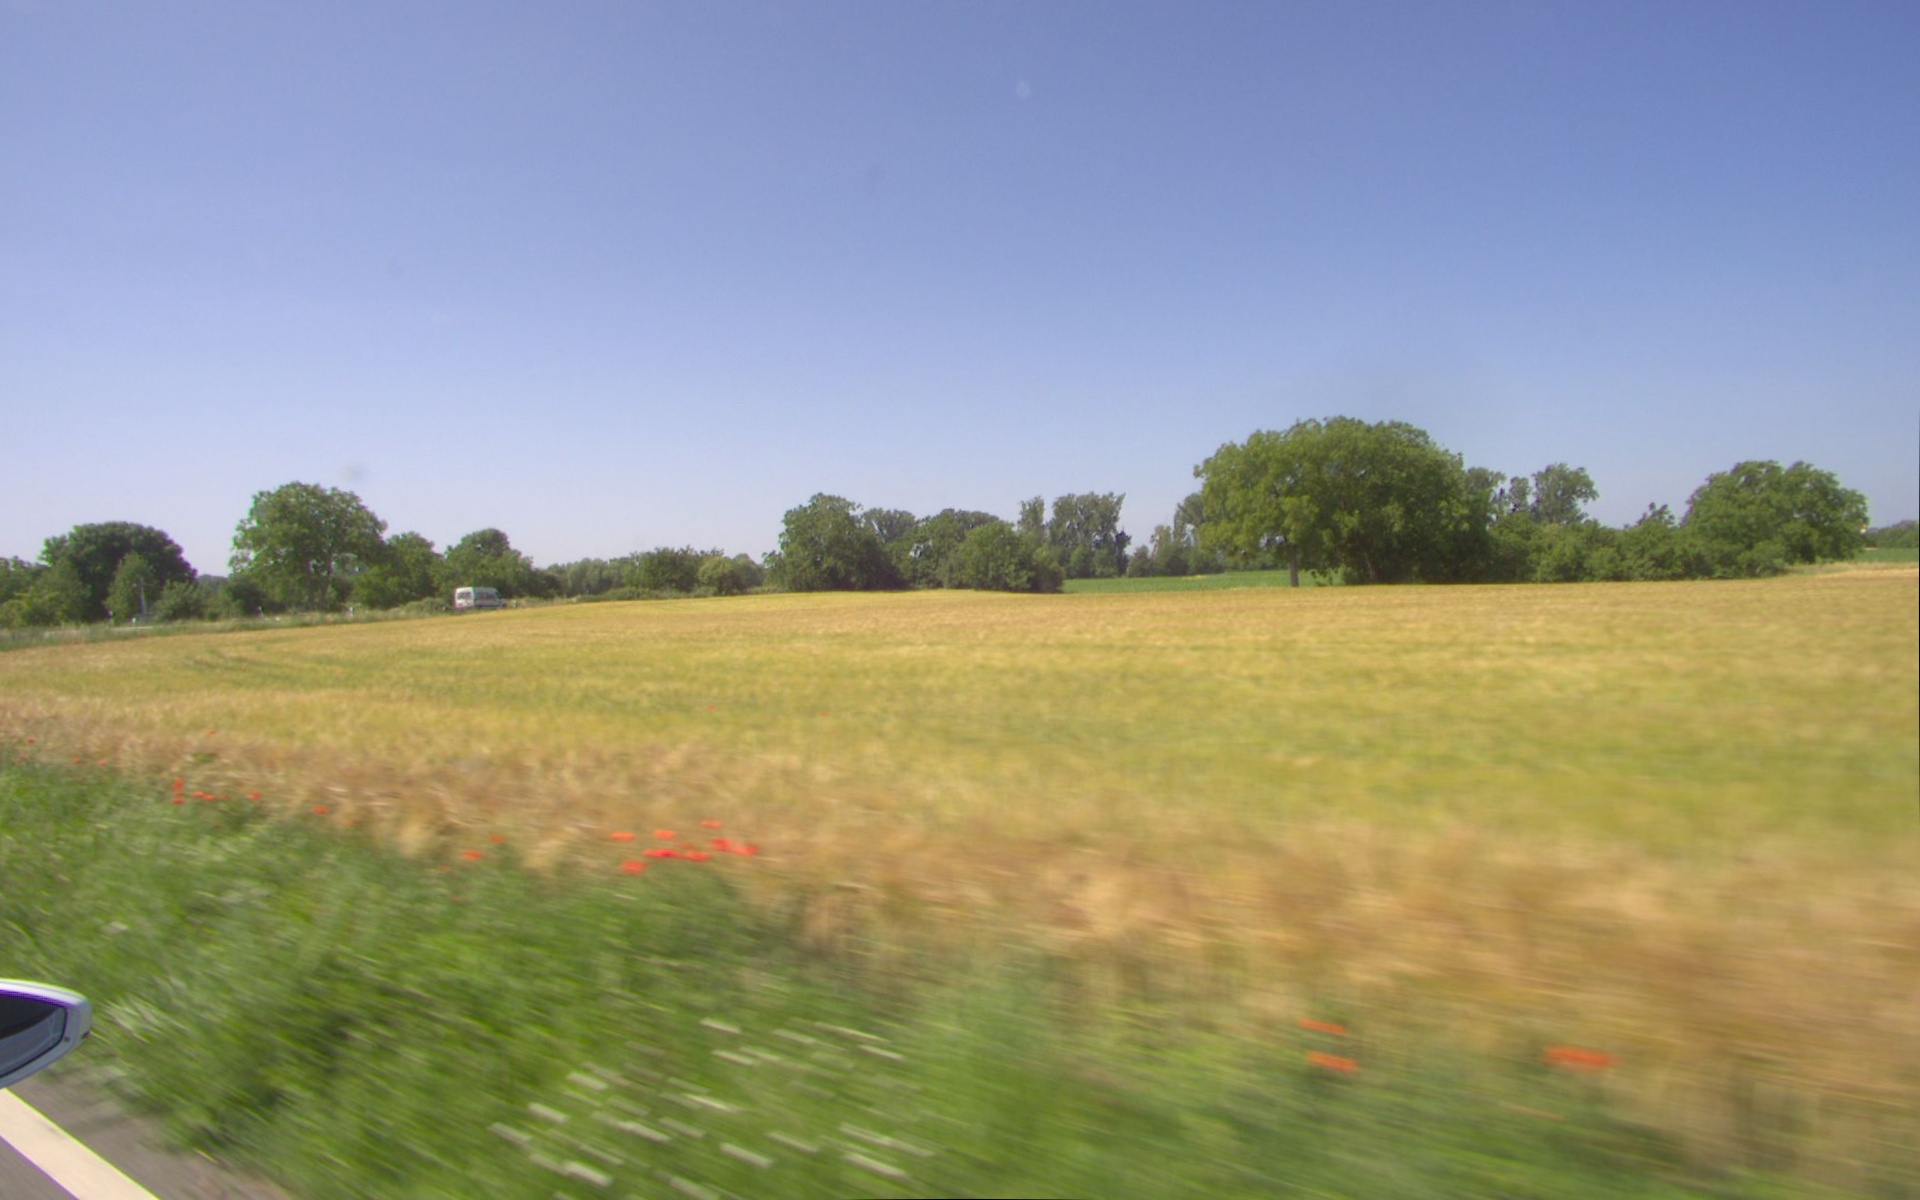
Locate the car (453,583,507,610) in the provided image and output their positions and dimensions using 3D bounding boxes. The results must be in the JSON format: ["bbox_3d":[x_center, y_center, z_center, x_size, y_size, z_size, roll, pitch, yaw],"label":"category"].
[{"bbox_3d":[-47.829,-0.381,100.018,2.070,2.399,5.682,-2,2,6],"label":"car"}]
